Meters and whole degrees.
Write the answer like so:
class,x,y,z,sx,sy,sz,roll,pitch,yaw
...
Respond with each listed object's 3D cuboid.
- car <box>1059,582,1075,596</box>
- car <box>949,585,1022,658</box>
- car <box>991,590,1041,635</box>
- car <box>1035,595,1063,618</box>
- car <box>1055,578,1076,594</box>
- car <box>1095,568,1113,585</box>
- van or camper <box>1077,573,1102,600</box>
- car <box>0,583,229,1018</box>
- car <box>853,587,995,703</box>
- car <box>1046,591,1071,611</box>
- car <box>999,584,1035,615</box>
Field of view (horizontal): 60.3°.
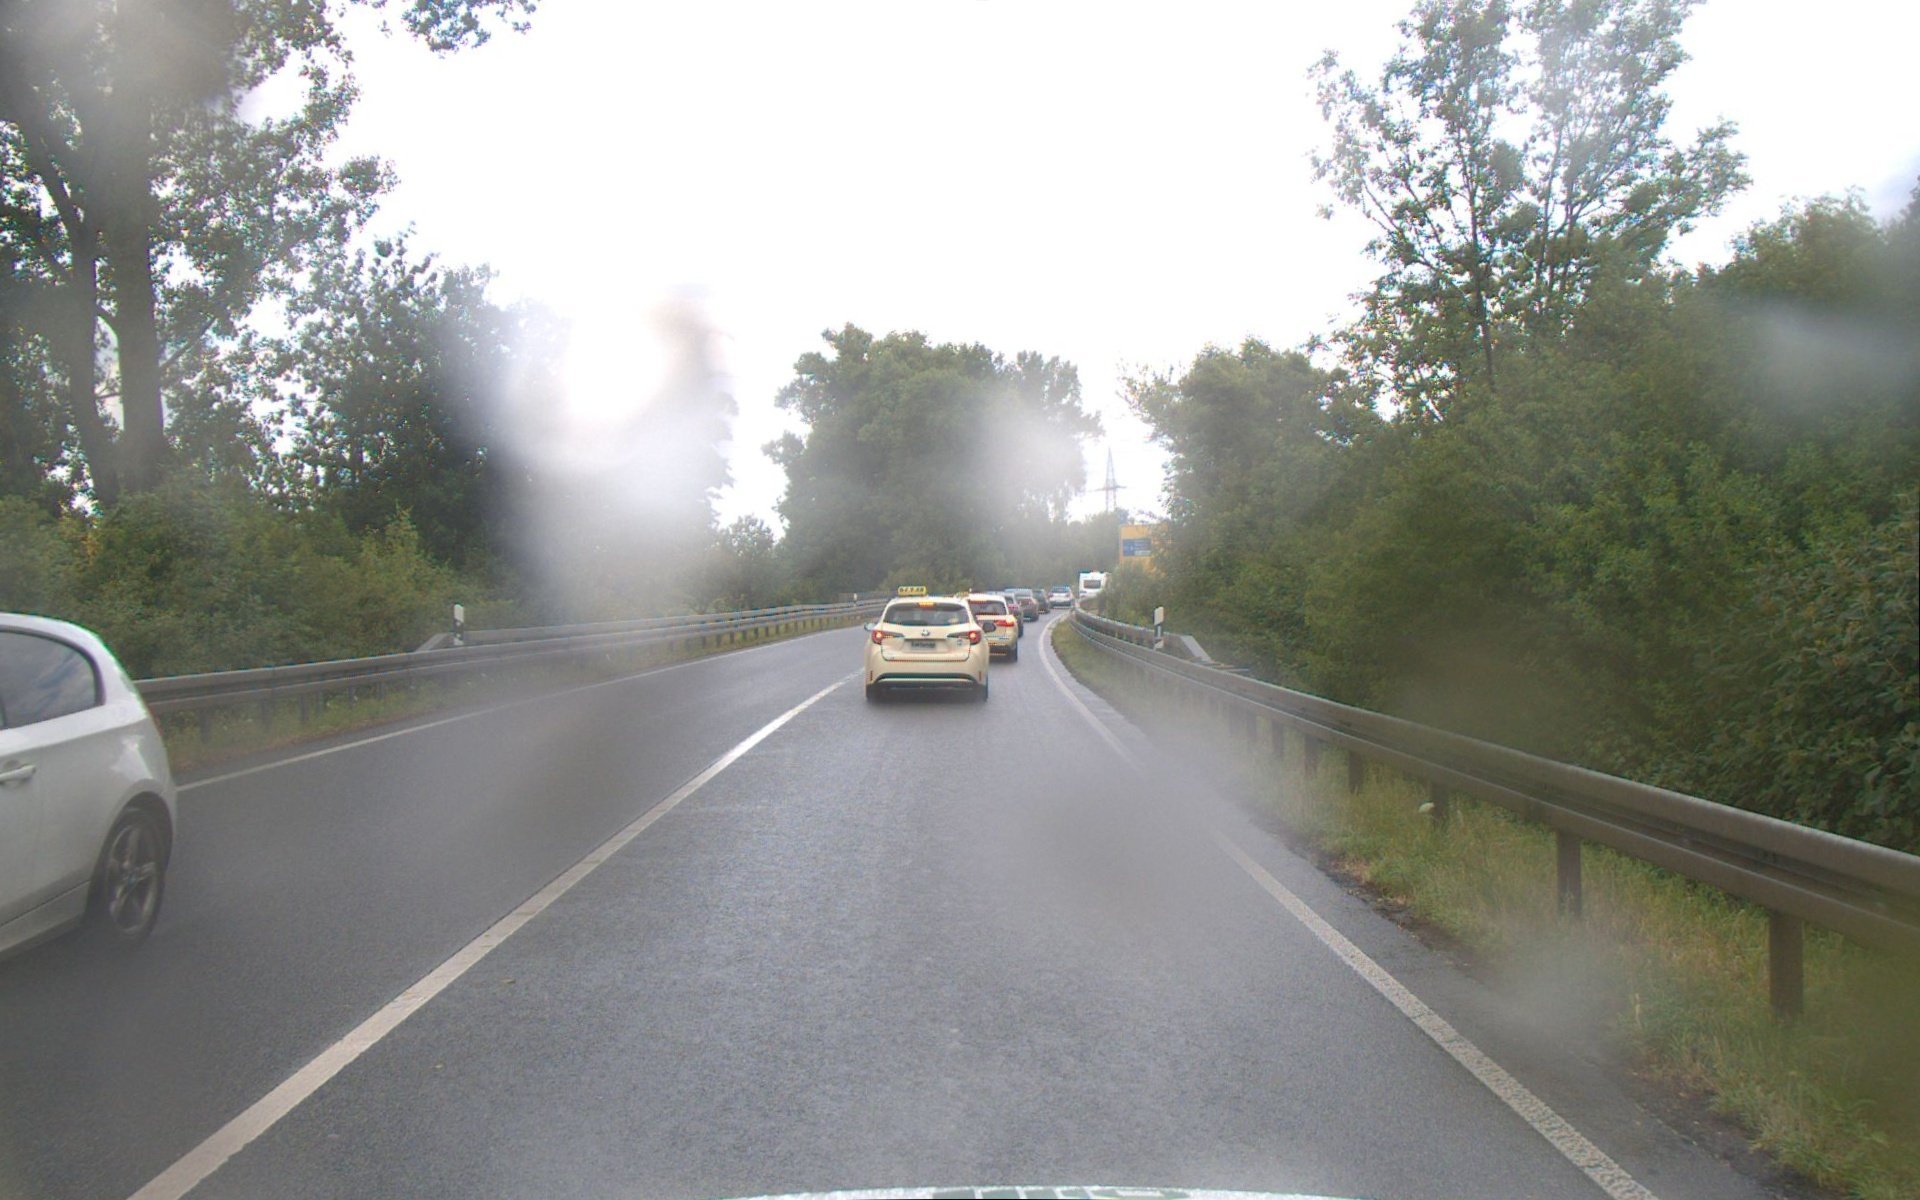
class,x,y,z,sx,sy,sz,roll,pitch,yaw
car,11.115,-1.115,172.335,1.394,1.379,3.229,1,0,9
car,0.624,0.467,38.071,1.545,1.600,3.683,0,0,3
car,1.863,0.403,55.951,1.631,1.489,3.477,0,0,1
car,5.217,0.368,96.837,1.451,1.332,3.479,0,0,6
car,8.213,-1.081,128.886,1.343,1.222,3.319,1,0,9
car,14.491,-2.324,165.967,1.612,1.613,3.686,1,0,7
van or camper,11.149,-1.123,142.534,1.951,2.293,4.003,1,0,6
car,-4.150,0.680,5.397,1.778,1.479,4.047,0,0,-1
car,-0.446,0.597,24.462,1.866,1.564,4.162,0,0,2
car,6.775,0.058,113.633,1.451,1.332,3.479,0,0,7
car,2.737,-0.025,78.491,1.625,1.434,3.905,0,-1,3
